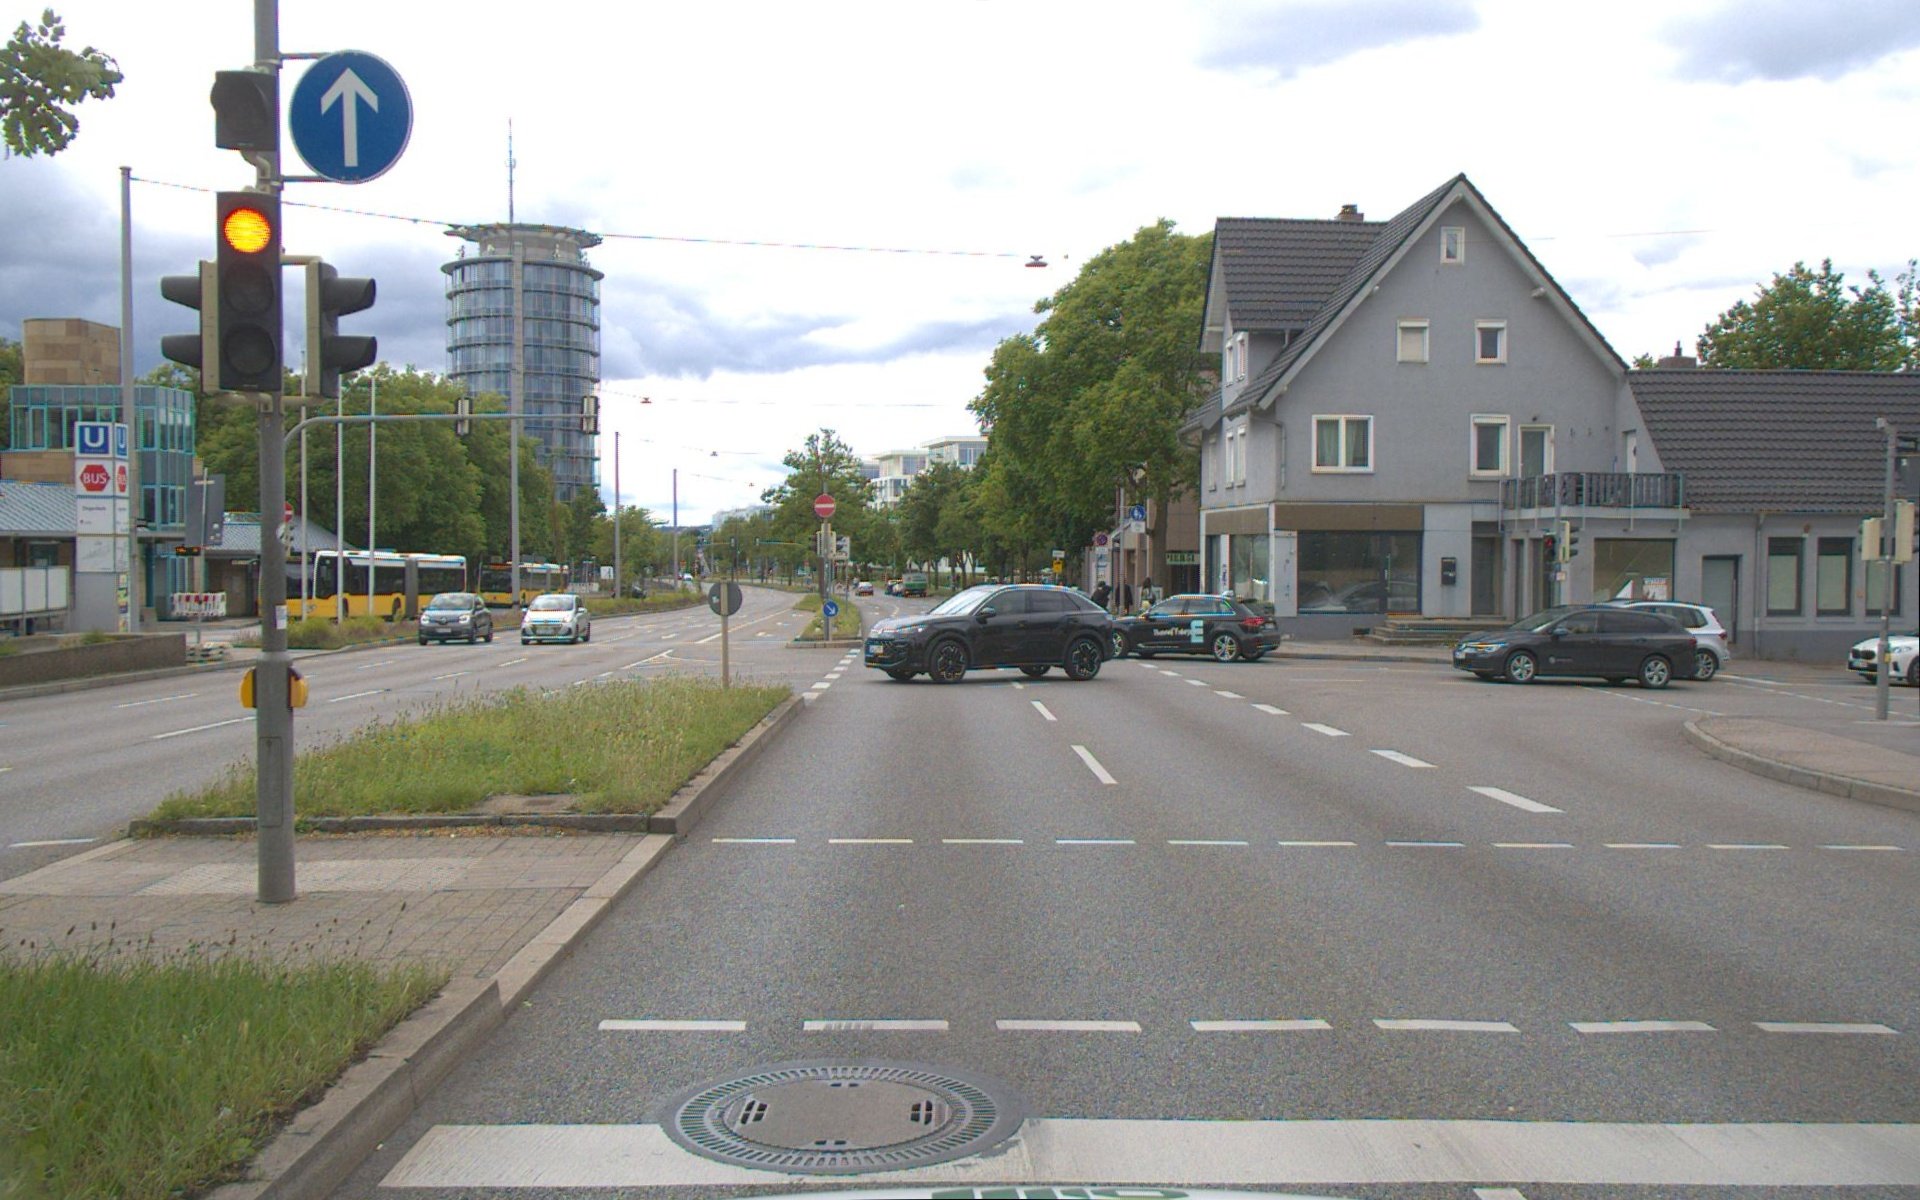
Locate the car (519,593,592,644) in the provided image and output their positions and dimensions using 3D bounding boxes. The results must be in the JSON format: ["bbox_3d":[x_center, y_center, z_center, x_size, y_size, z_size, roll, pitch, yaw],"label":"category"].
[{"bbox_3d":[-12.368,0.551,50.721,1.651,1.488,3.552,0,0,-5],"label":"car"}]

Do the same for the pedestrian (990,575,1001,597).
[{"bbox_3d":[3.245,-1.280,152.663,0.951,2.049,0.981,1,-1,-2],"label":"pedestrian"}]

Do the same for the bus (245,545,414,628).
[{"bbox_3d":[-27.087,-0.557,71.688,2.927,3.307,10.174,-1,0,3],"label":"bus"}]

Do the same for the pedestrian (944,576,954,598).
[{"bbox_3d":[-1.257,-1.425,182.046,0.914,2.349,1.008,1,-1,-10],"label":"pedestrian"}]

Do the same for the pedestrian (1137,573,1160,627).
[{"bbox_3d":[5.939,-0.006,52.055,0.690,1.691,0.871,0,0,7],"label":"pedestrian"}]

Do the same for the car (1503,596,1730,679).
[{"bbox_3d":[13.703,0.772,34.656,4.020,1.567,1.827,2,0,-4],"label":"car"}]

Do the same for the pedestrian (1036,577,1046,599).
[{"bbox_3d":[6.067,-0.900,124.419,0.638,1.597,0.669,0,0,-9],"label":"pedestrian"}]

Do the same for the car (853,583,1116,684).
[{"bbox_3d":[0.424,0.504,27.397,4.012,1.547,1.824,0,1,-28],"label":"car"}]

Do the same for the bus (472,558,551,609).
[{"bbox_3d":[-30.791,-1.111,114.006,3.082,3.281,10.279,0,0,-3],"label":"bus"}]

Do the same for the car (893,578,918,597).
[{"bbox_3d":[-5.414,-1.237,165.023,2.207,1.787,4.927,0,0,-5],"label":"car"}]

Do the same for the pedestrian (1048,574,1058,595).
[{"bbox_3d":[6.994,-1.177,124.179,0.638,1.597,0.669,0,0,-9],"label":"pedestrian"}]

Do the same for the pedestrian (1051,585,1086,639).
[{"bbox_3d":[3.150,0.341,48.070,0.851,1.533,0.706,0,0,-10],"label":"pedestrian"}]

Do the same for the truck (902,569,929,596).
[{"bbox_3d":[-4.168,-1.611,155.204,2.207,2.459,4.927,0,0,-5],"label":"truck"}]

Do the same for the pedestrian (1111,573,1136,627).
[{"bbox_3d":[5.175,0.005,52.277,0.690,1.691,0.871,0,0,13],"label":"pedestrian"}]

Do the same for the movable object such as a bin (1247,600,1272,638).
[{"bbox_3d":[7.994,0.496,44.158,0.518,0.997,0.736,0,0,-1],"label":"movable object such as a bin"}]

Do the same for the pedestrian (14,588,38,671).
[{"bbox_3d":[-18.485,0.579,32.728,0.414,1.619,0.353,0,0,-30],"label":"pedestrian"}]

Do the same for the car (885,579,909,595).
[{"bbox_3d":[-6.611,-1.383,173.776,2.207,1.676,4.927,0,0,-6],"label":"car"}]

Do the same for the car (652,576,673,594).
[{"bbox_3d":[-35.917,-1.820,199.736,1.925,2.049,3.999,1,0,-1],"label":"car"}]

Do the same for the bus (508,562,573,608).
[{"bbox_3d":[-31.153,-1.126,123.005,3.081,3.281,7.762,0,0,-2],"label":"bus"}]

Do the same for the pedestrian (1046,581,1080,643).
[{"bbox_3d":[3.042,0.337,48.827,0.851,1.811,0.706,0,0,-10],"label":"pedestrian"}]

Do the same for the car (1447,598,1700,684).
[{"bbox_3d":[11.655,0.756,31.577,4.189,1.506,1.714,1,1,-4],"label":"car"}]

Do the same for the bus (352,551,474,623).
[{"bbox_3d":[-26.550,-0.609,80.712,2.927,3.327,7.879,-1,0,3],"label":"bus"}]

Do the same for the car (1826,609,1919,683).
[{"bbox_3d":[21.147,0.993,35.425,4.154,1.503,2.000,1,0,1],"label":"car"}]

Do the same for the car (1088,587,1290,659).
[{"bbox_3d":[5.046,0.484,36.501,4.008,1.521,1.892,0,0,30],"label":"car"}]

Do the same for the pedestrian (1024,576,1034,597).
[{"bbox_3d":[5.191,-0.992,124.329,0.638,1.597,0.669,0,0,-9],"label":"pedestrian"}]

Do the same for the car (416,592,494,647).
[{"bbox_3d":[-15.477,0.566,50.809,1.652,1.606,3.344,0,0,-6],"label":"car"}]

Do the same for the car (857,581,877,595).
[{"bbox_3d":[-9.729,-1.254,173.019,1.929,1.444,4.017,0,0,-6],"label":"car"}]

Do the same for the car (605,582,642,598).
[{"bbox_3d":[-33.670,-0.996,165.560,3.481,1.518,1.706,-1,0,-6],"label":"car"}]

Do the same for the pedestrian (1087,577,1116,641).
[{"bbox_3d":[4.028,0.241,47.068,0.691,1.791,1.052,0,0,-2],"label":"pedestrian"}]
